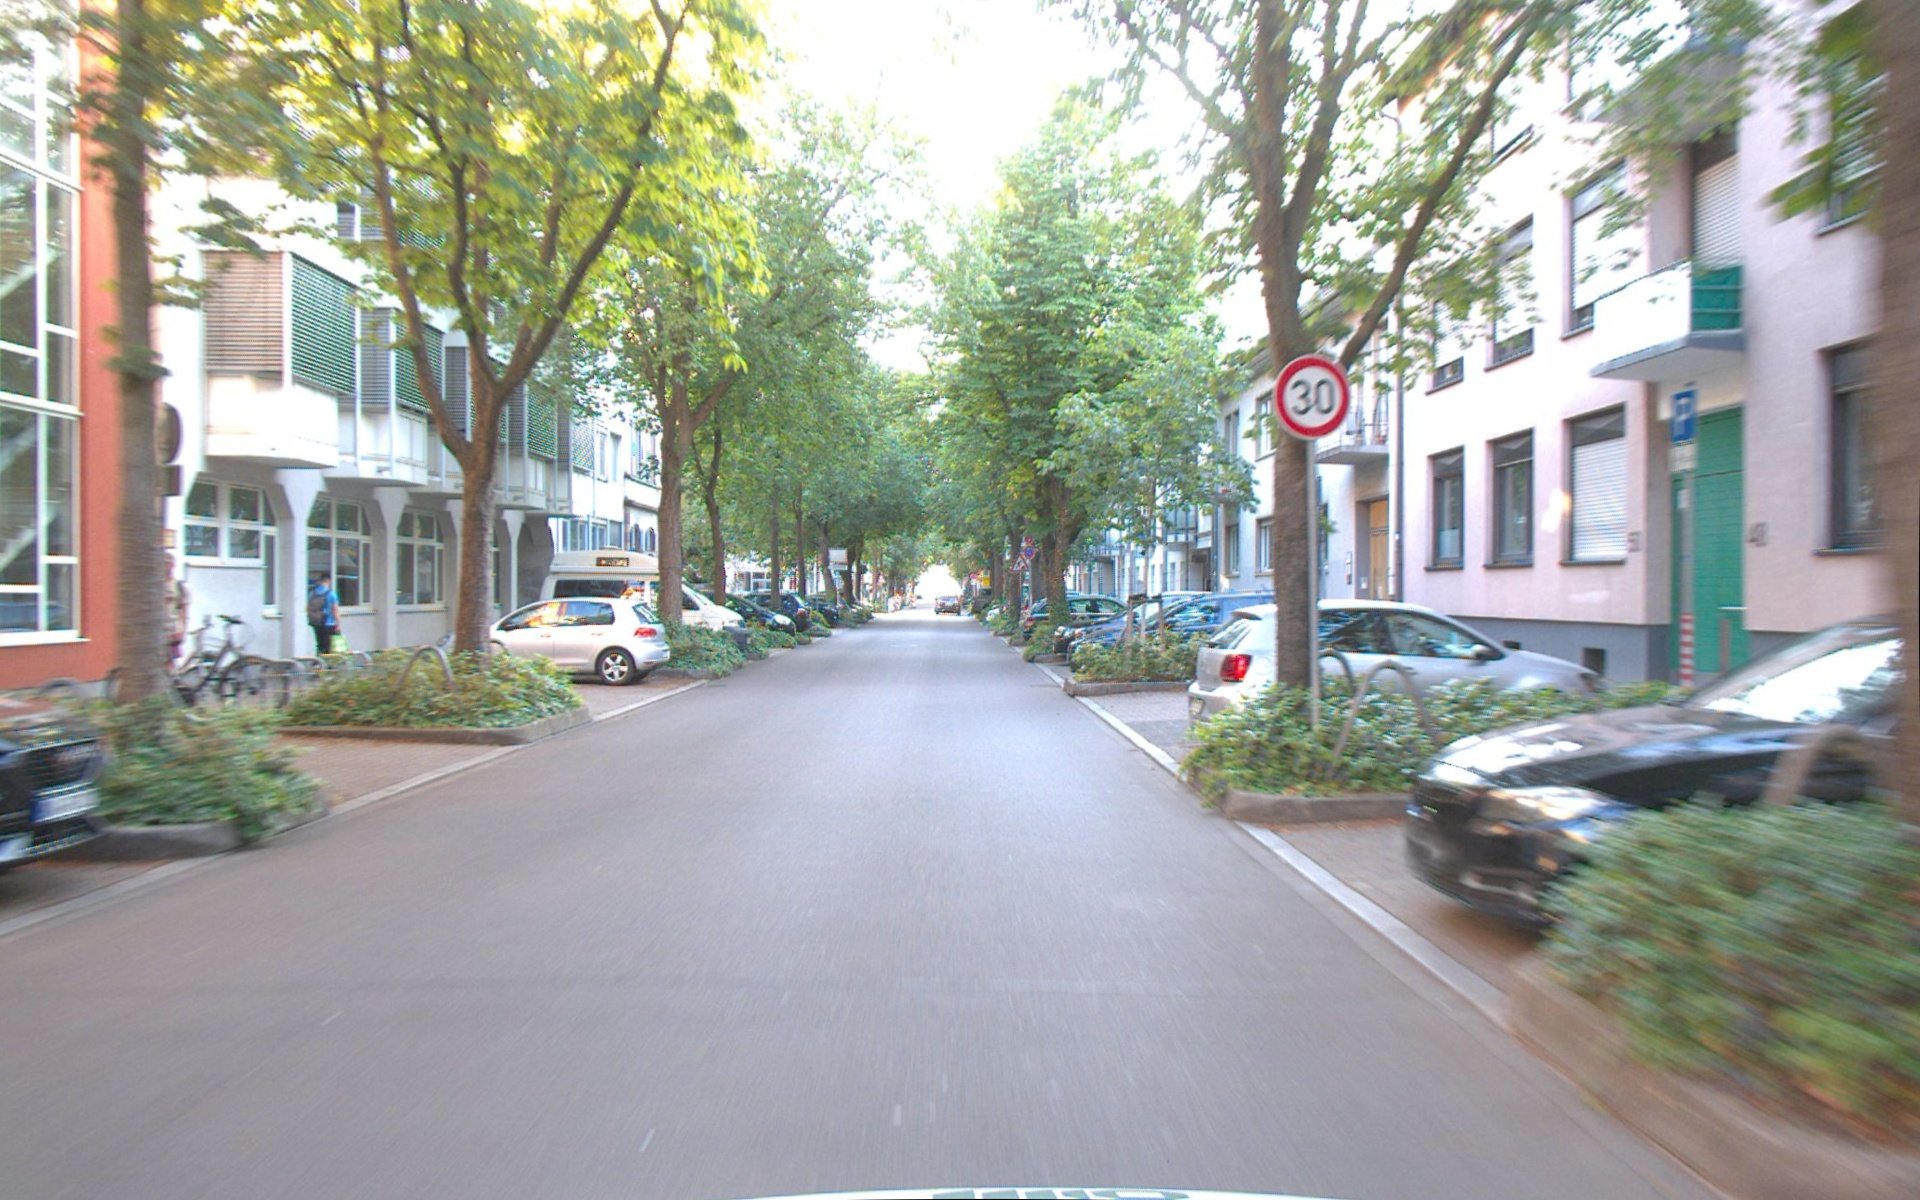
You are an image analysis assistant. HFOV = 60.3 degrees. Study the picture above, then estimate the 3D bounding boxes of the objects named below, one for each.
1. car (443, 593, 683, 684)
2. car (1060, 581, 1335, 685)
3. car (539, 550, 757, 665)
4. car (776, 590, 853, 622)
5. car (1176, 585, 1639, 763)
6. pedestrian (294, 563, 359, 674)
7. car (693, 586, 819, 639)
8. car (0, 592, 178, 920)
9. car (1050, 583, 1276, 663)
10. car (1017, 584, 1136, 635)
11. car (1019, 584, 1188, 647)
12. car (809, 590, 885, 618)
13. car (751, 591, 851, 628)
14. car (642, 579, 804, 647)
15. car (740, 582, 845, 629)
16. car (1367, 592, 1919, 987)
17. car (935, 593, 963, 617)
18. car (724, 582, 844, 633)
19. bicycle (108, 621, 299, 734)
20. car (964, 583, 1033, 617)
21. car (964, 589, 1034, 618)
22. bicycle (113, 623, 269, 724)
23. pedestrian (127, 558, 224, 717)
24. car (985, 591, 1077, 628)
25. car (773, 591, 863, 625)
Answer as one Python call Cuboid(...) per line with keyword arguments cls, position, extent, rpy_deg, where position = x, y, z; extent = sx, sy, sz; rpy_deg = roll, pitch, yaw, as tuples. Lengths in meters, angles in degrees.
Cuboid(cls="car", position=(-6.968, 0.657, 29.307), extent=(3.791, 1.512, 1.757), rpy_deg=(1, 0, 1))
Cuboid(cls="car", position=(4.120, 0.548, 29.310), extent=(4.620, 1.740, 1.950), rpy_deg=(0, 1, 1))
Cuboid(cls="car", position=(-7.036, 0.165, 37.663), extent=(4.587, 2.521, 2.000), rpy_deg=(0, 0, -1))
Cuboid(cls="car", position=(-7.649, 0.313, 87.281), extent=(3.906, 1.536, 1.800), rpy_deg=(-2, 0, -1))
Cuboid(cls="car", position=(4.098, 0.640, 15.556), extent=(3.800, 1.465, 1.846), rpy_deg=(-1, 1, -4))
Cuboid(cls="pedestrian", position=(-10.194, 0.288, 26.646), extent=(0.689, 1.758, 0.905), rpy_deg=(0, 0, -1))
Cuboid(cls="car", position=(-7.104, 0.429, 57.843), extent=(4.117, 1.664, 1.963), rpy_deg=(-2, 0, -1))
Cuboid(cls="car", position=(-6.497, 0.702, 8.466), extent=(4.044, 1.512, 1.929), rpy_deg=(1, 0, -2))
Cuboid(cls="car", position=(4.334, 0.479, 35.834), extent=(4.587, 1.548, 1.963), rpy_deg=(-2, 0, -1))
Cuboid(cls="car", position=(4.051, 0.326, 57.852), extent=(3.968, 1.625, 1.825), rpy_deg=(-2, 0, -1))
Cuboid(cls="car", position=(3.837, 0.405, 44.738), extent=(4.414, 1.548, 1.996), rpy_deg=(-2, 0, 2))
Cuboid(cls="car", position=(-7.176, 0.240, 105.440), extent=(4.665, 1.658, 1.963), rpy_deg=(-2, 0, -1))
Cuboid(cls="car", position=(-7.774, 0.446, 81.300), extent=(4.665, 1.658, 1.963), rpy_deg=(-2, 0, -1))
Cuboid(cls="car", position=(-7.136, 0.388, 50.119), extent=(4.587, 1.886, 1.963), rpy_deg=(-2, 0, -1))
Cuboid(cls="car", position=(-7.762, 0.234, 76.980), extent=(4.665, 2.019, 1.963), rpy_deg=(-2, 0, -1))
Cuboid(cls="car", position=(4.411, 0.711, 7.490), extent=(4.615, 1.446, 2.035), rpy_deg=(-1, 1, -1))
Cuboid(cls="car", position=(-0.758, 0.334, 118.402), extent=(1.917, 1.593, 4.282), rpy_deg=(-2, 0, 0))
Cuboid(cls="car", position=(-6.932, 0.292, 65.540), extent=(4.502, 1.839, 1.963), rpy_deg=(-2, 0, -1))
Cuboid(cls="bicycle", position=(-7.871, 0.790, 17.260), extent=(1.771, 1.127, 0.496), rpy_deg=(1, 0, -25))
Cuboid(cls="car", position=(2.405, 0.004, 103.658), extent=(4.181, 1.996, 1.963), rpy_deg=(-2, 0, -1))
Cuboid(cls="car", position=(2.357, 0.222, 100.895), extent=(4.181, 1.593, 1.963), rpy_deg=(-2, 0, -1))
Cuboid(cls="bicycle", position=(-8.562, 0.798, 18.407), extent=(1.757, 1.047, 0.500), rpy_deg=(1, 0, 22))
Cuboid(cls="pedestrian", position=(-9.091, 0.422, 19.185), extent=(0.689, 1.787, 0.739), rpy_deg=(0, 0, 23))
Cuboid(cls="car", position=(3.331, 0.454, 77.861), extent=(4.181, 1.593, 1.963), rpy_deg=(-2, 0, -1))
Cuboid(cls="car", position=(-7.697, 0.432, 89.757), extent=(4.665, 1.658, 1.963), rpy_deg=(-2, 0, -1))
